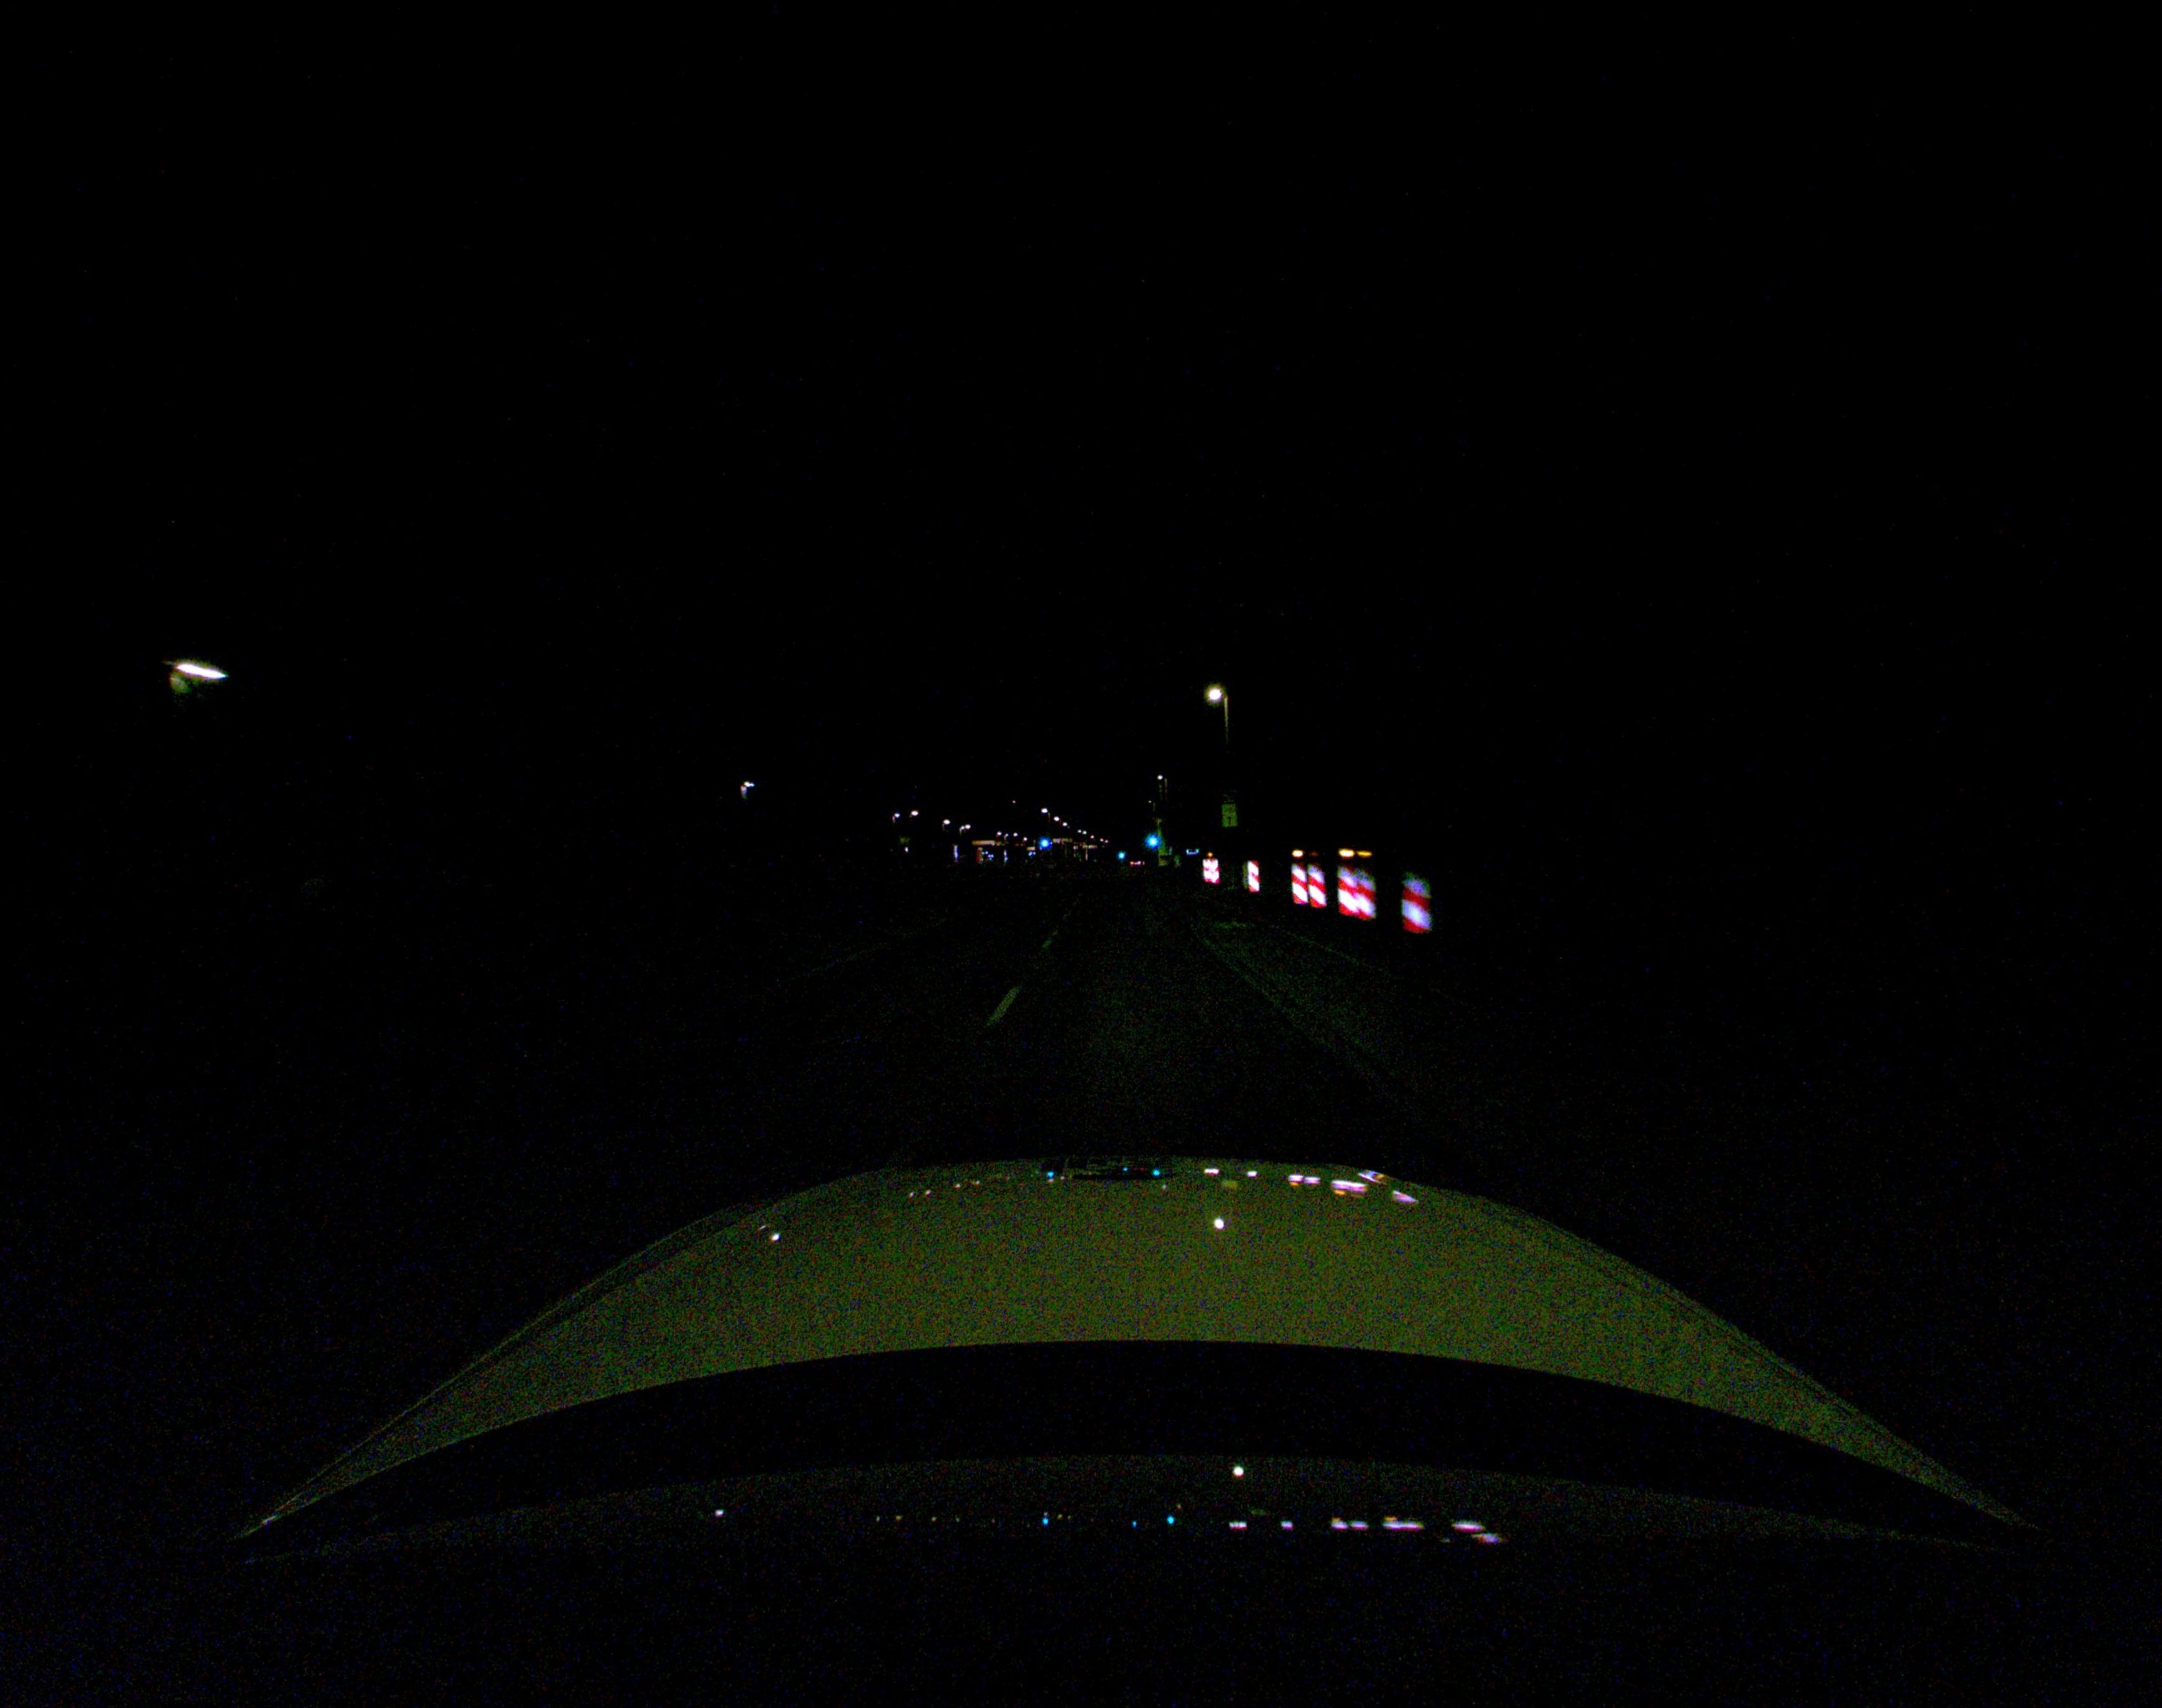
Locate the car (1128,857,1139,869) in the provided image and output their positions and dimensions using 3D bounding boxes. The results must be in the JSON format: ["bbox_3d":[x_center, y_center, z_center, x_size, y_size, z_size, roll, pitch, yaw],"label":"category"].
[{"bbox_3d":[9.908,1.674,153.873,2.079,2.013,4.003,-2,0,3],"label":"car"}]
